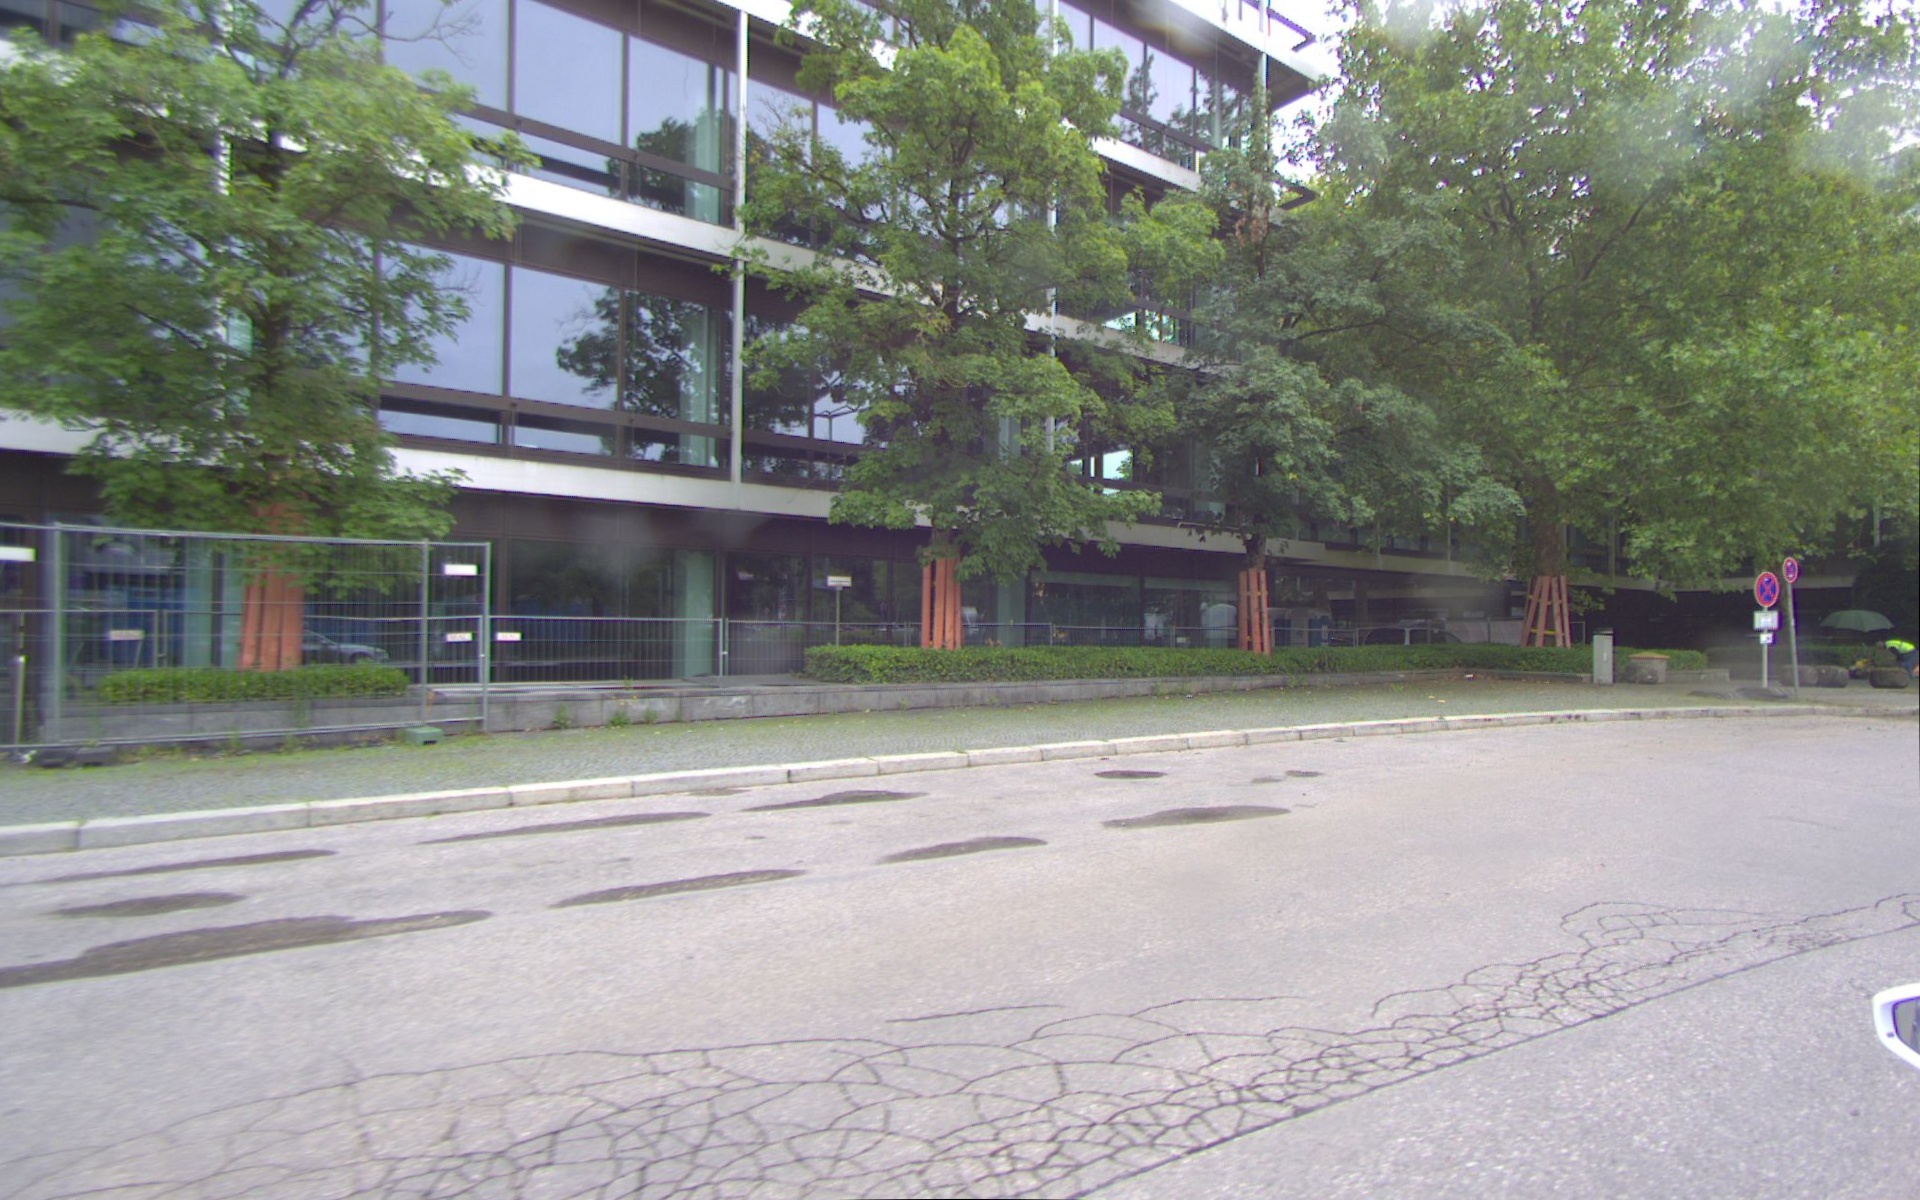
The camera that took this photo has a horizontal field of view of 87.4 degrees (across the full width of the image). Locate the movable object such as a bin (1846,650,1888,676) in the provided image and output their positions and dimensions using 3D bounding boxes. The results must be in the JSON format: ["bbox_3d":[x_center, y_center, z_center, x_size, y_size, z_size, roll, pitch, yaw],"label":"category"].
[{"bbox_3d":[27.526,1.911,30.484,0.566,0.763,0.830,1,-1,-32],"label":"movable object such as a bin"}]

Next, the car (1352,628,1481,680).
[{"bbox_3d":[14.003,1.618,30.782,3.821,1.493,1.895,1,-2,-34],"label":"car"}]

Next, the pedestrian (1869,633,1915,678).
[{"bbox_3d":[27.875,1.649,30.044,0.536,1.295,0.920,1,-1,-33],"label":"pedestrian"}]
